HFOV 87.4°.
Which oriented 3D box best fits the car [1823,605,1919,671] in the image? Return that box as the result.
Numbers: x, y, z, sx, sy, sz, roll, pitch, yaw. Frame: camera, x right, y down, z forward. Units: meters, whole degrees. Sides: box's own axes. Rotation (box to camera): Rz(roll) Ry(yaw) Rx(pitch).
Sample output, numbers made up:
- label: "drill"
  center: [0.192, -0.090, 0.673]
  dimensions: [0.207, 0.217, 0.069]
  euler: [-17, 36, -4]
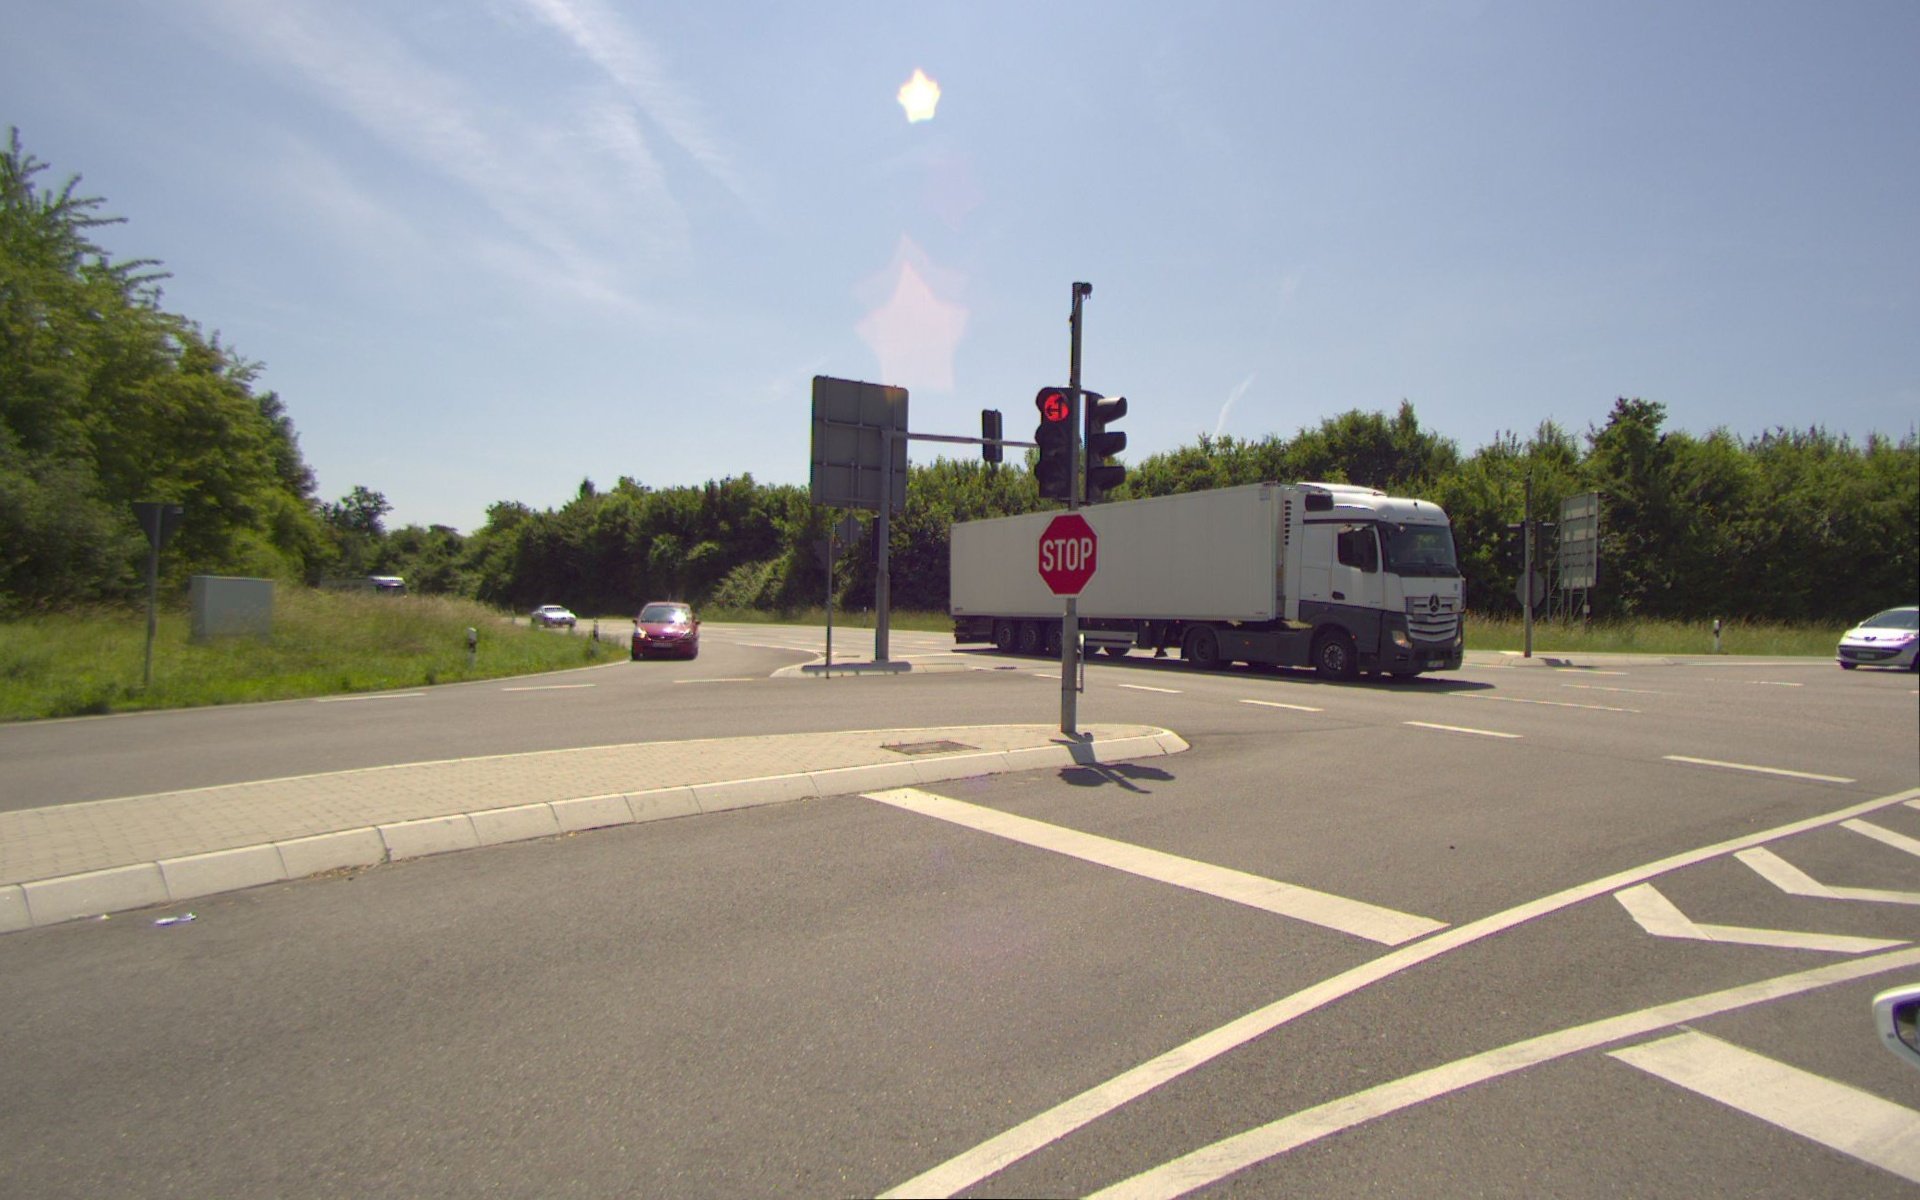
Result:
- label: "car"
  center: [21.836, 0.829, 22.900]
  dimensions: [3.470, 1.389, 1.566]
  euler: [0, 0, -14]

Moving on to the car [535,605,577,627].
- label: "car"
  center: [-24.717, 0.948, 61.371]
  dimensions: [1.430, 1.301, 3.791]
  euler: [0, 0, -38]

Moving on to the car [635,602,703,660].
- label: "car"
  center: [-8.123, 0.817, 28.298]
  dimensions: [1.523, 1.519, 3.824]
  euler: [0, 0, -12]

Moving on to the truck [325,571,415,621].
- label: "truck"
  center: [-57.293, -0.248, 97.209]
  dimensions: [16.226, 4.506, 3.126]
  euler: [-1, 0, 44]

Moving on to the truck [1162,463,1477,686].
- label: "truck"
  center: [7.509, -0.476, 21.833]
  dimensions: [2.630, 4.090, 6.228]
  euler: [0, 0, -31]

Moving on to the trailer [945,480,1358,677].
- label: "trailer"
  center: [4.167, -0.478, 27.428]
  dimensions: [2.630, 4.090, 13.720]
  euler: [0, 1, -31]
